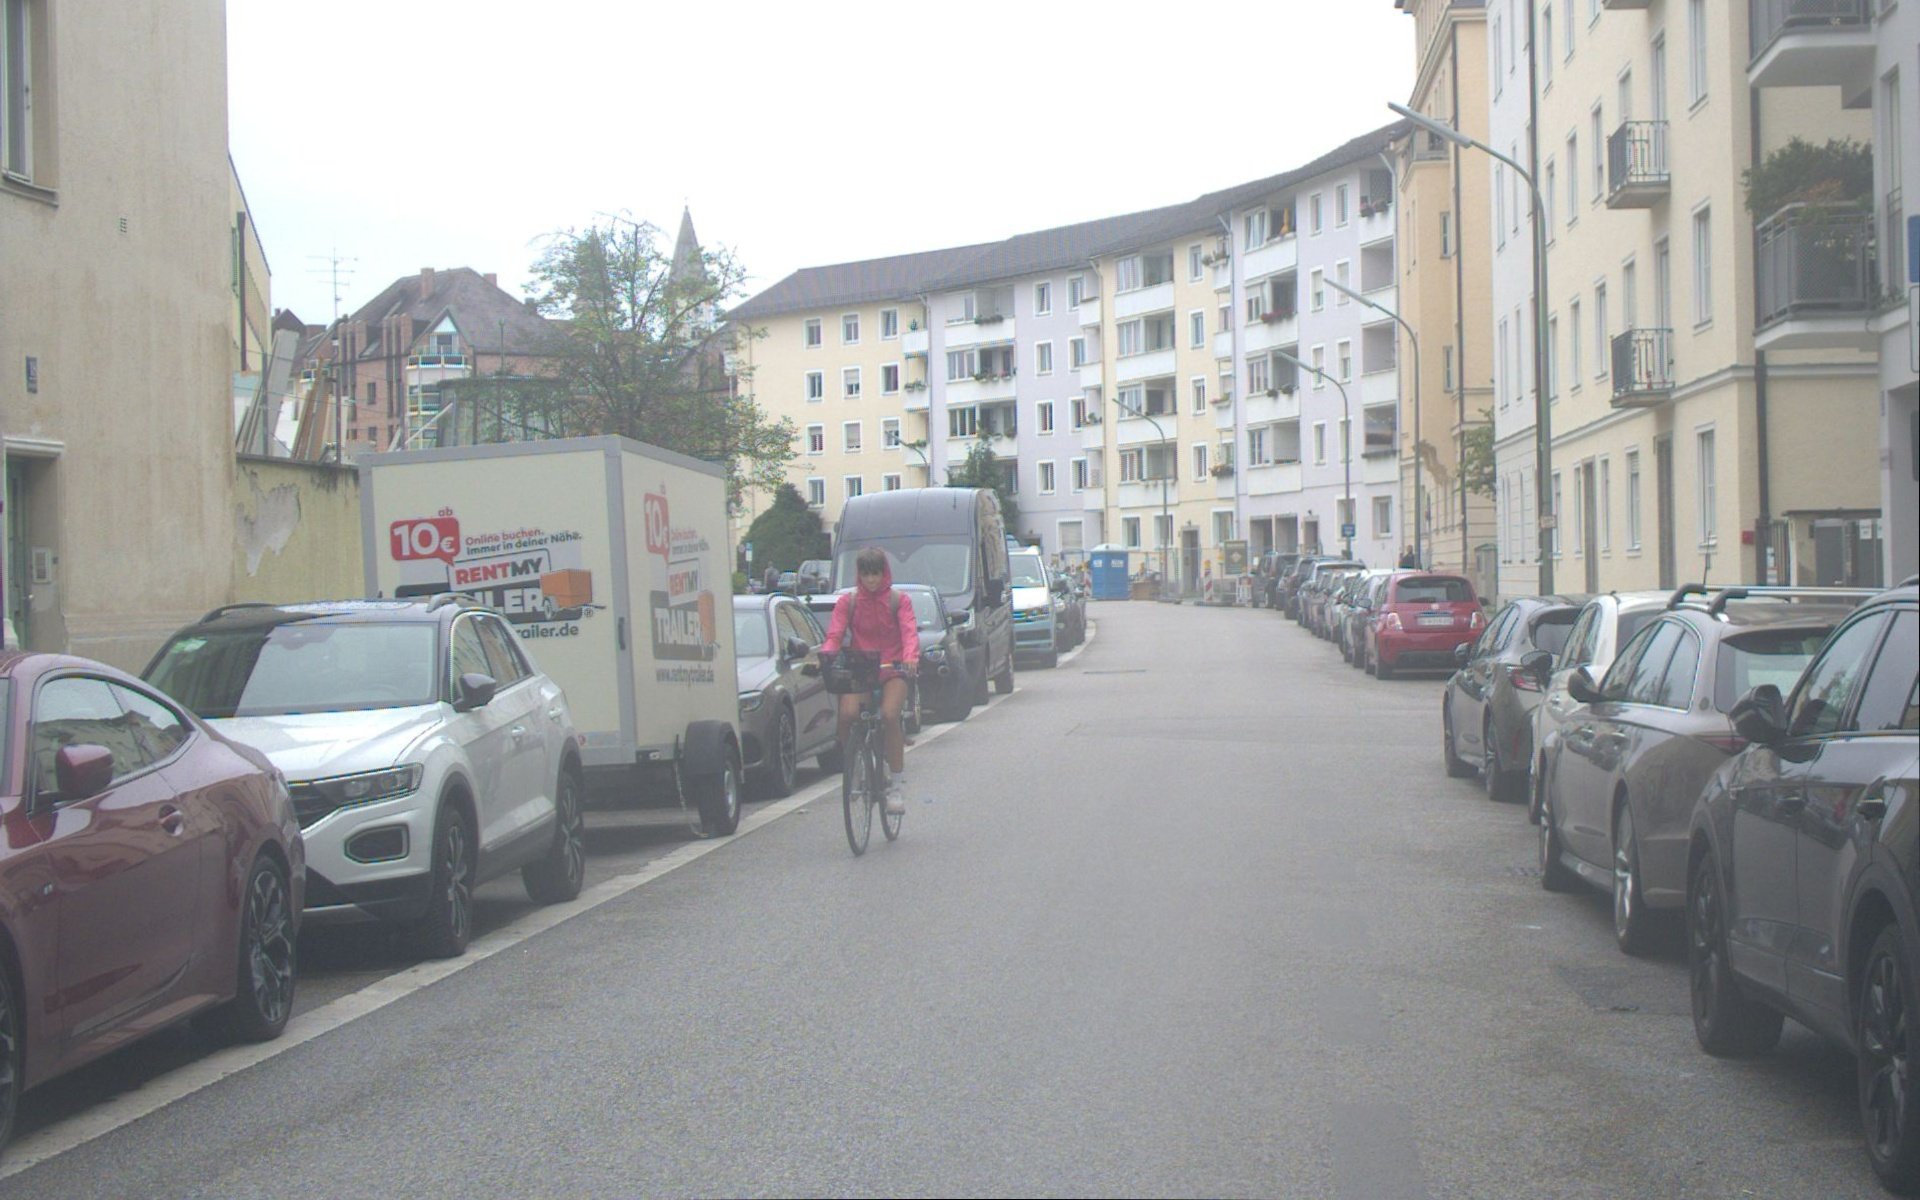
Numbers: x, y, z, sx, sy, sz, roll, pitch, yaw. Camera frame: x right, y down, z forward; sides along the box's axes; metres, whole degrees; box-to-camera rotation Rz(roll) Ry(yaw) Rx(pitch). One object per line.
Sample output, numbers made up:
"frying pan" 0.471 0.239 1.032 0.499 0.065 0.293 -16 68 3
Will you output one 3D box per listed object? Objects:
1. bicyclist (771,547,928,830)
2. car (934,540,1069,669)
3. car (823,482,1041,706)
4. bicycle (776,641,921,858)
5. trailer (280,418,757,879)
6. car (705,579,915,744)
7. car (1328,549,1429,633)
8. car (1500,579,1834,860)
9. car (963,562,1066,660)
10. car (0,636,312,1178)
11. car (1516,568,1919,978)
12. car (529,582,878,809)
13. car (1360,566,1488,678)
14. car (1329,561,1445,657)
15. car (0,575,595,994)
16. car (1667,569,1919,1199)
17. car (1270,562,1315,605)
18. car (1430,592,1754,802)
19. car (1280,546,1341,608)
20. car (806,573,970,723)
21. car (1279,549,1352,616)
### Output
"bicyclist" -0.624 0.488 19.664 0.694 1.556 0.966 -2 0 8
"car" 0.722 0.034 56.111 1.883 1.925 4.600 -3 1 4
"car" -0.270 -0.126 43.526 2.088 2.627 5.375 -1 1 6
"bicycle" -0.618 0.829 19.625 0.504 1.124 1.772 -2 1 8
"trailer" -2.556 0.241 21.029 1.710 2.453 4.385 -3 0 8
"car" -1.397 0.549 33.337 1.701 1.441 3.825 0 1 2
"car" 7.855 -0.194 64.751 1.599 1.486 3.799 -1 1 3
"car" 4.206 0.652 20.883 1.519 1.525 3.526 1 1 4
"car" 1.064 0.180 65.370 1.702 1.685 4.027 -3 1 4
"car" -3.432 0.876 10.333 1.861 1.408 4.333 -3 0 3
"car" 3.606 0.642 15.340 1.734 1.525 4.621 2 1 4
"car" -1.897 0.676 26.852 1.767 1.533 4.539 -3 0 7
"car" 6.574 0.280 48.970 1.596 1.503 3.800 -1 1 5
"car" 7.331 0.119 59.316 1.692 1.486 4.282 -1 1 4
"car" -2.899 0.735 15.849 1.687 1.597 3.921 -3 0 4
"car" 3.110 0.700 9.684 1.604 1.525 3.984 2 1 4
"car" 10.254 -0.517 106.036 1.272 1.294 2.797 0 1 3
"car" 4.541 0.653 25.234 1.763 1.403 4.078 -1 0 2
"car" 9.584 -0.640 94.079 1.474 1.635 4.000 0 1 3
"car" -0.763 0.496 38.379 1.585 1.533 3.543 -2 1 2
"car" 8.670 -0.439 84.074 1.591 1.577 4.299 0 1 3
